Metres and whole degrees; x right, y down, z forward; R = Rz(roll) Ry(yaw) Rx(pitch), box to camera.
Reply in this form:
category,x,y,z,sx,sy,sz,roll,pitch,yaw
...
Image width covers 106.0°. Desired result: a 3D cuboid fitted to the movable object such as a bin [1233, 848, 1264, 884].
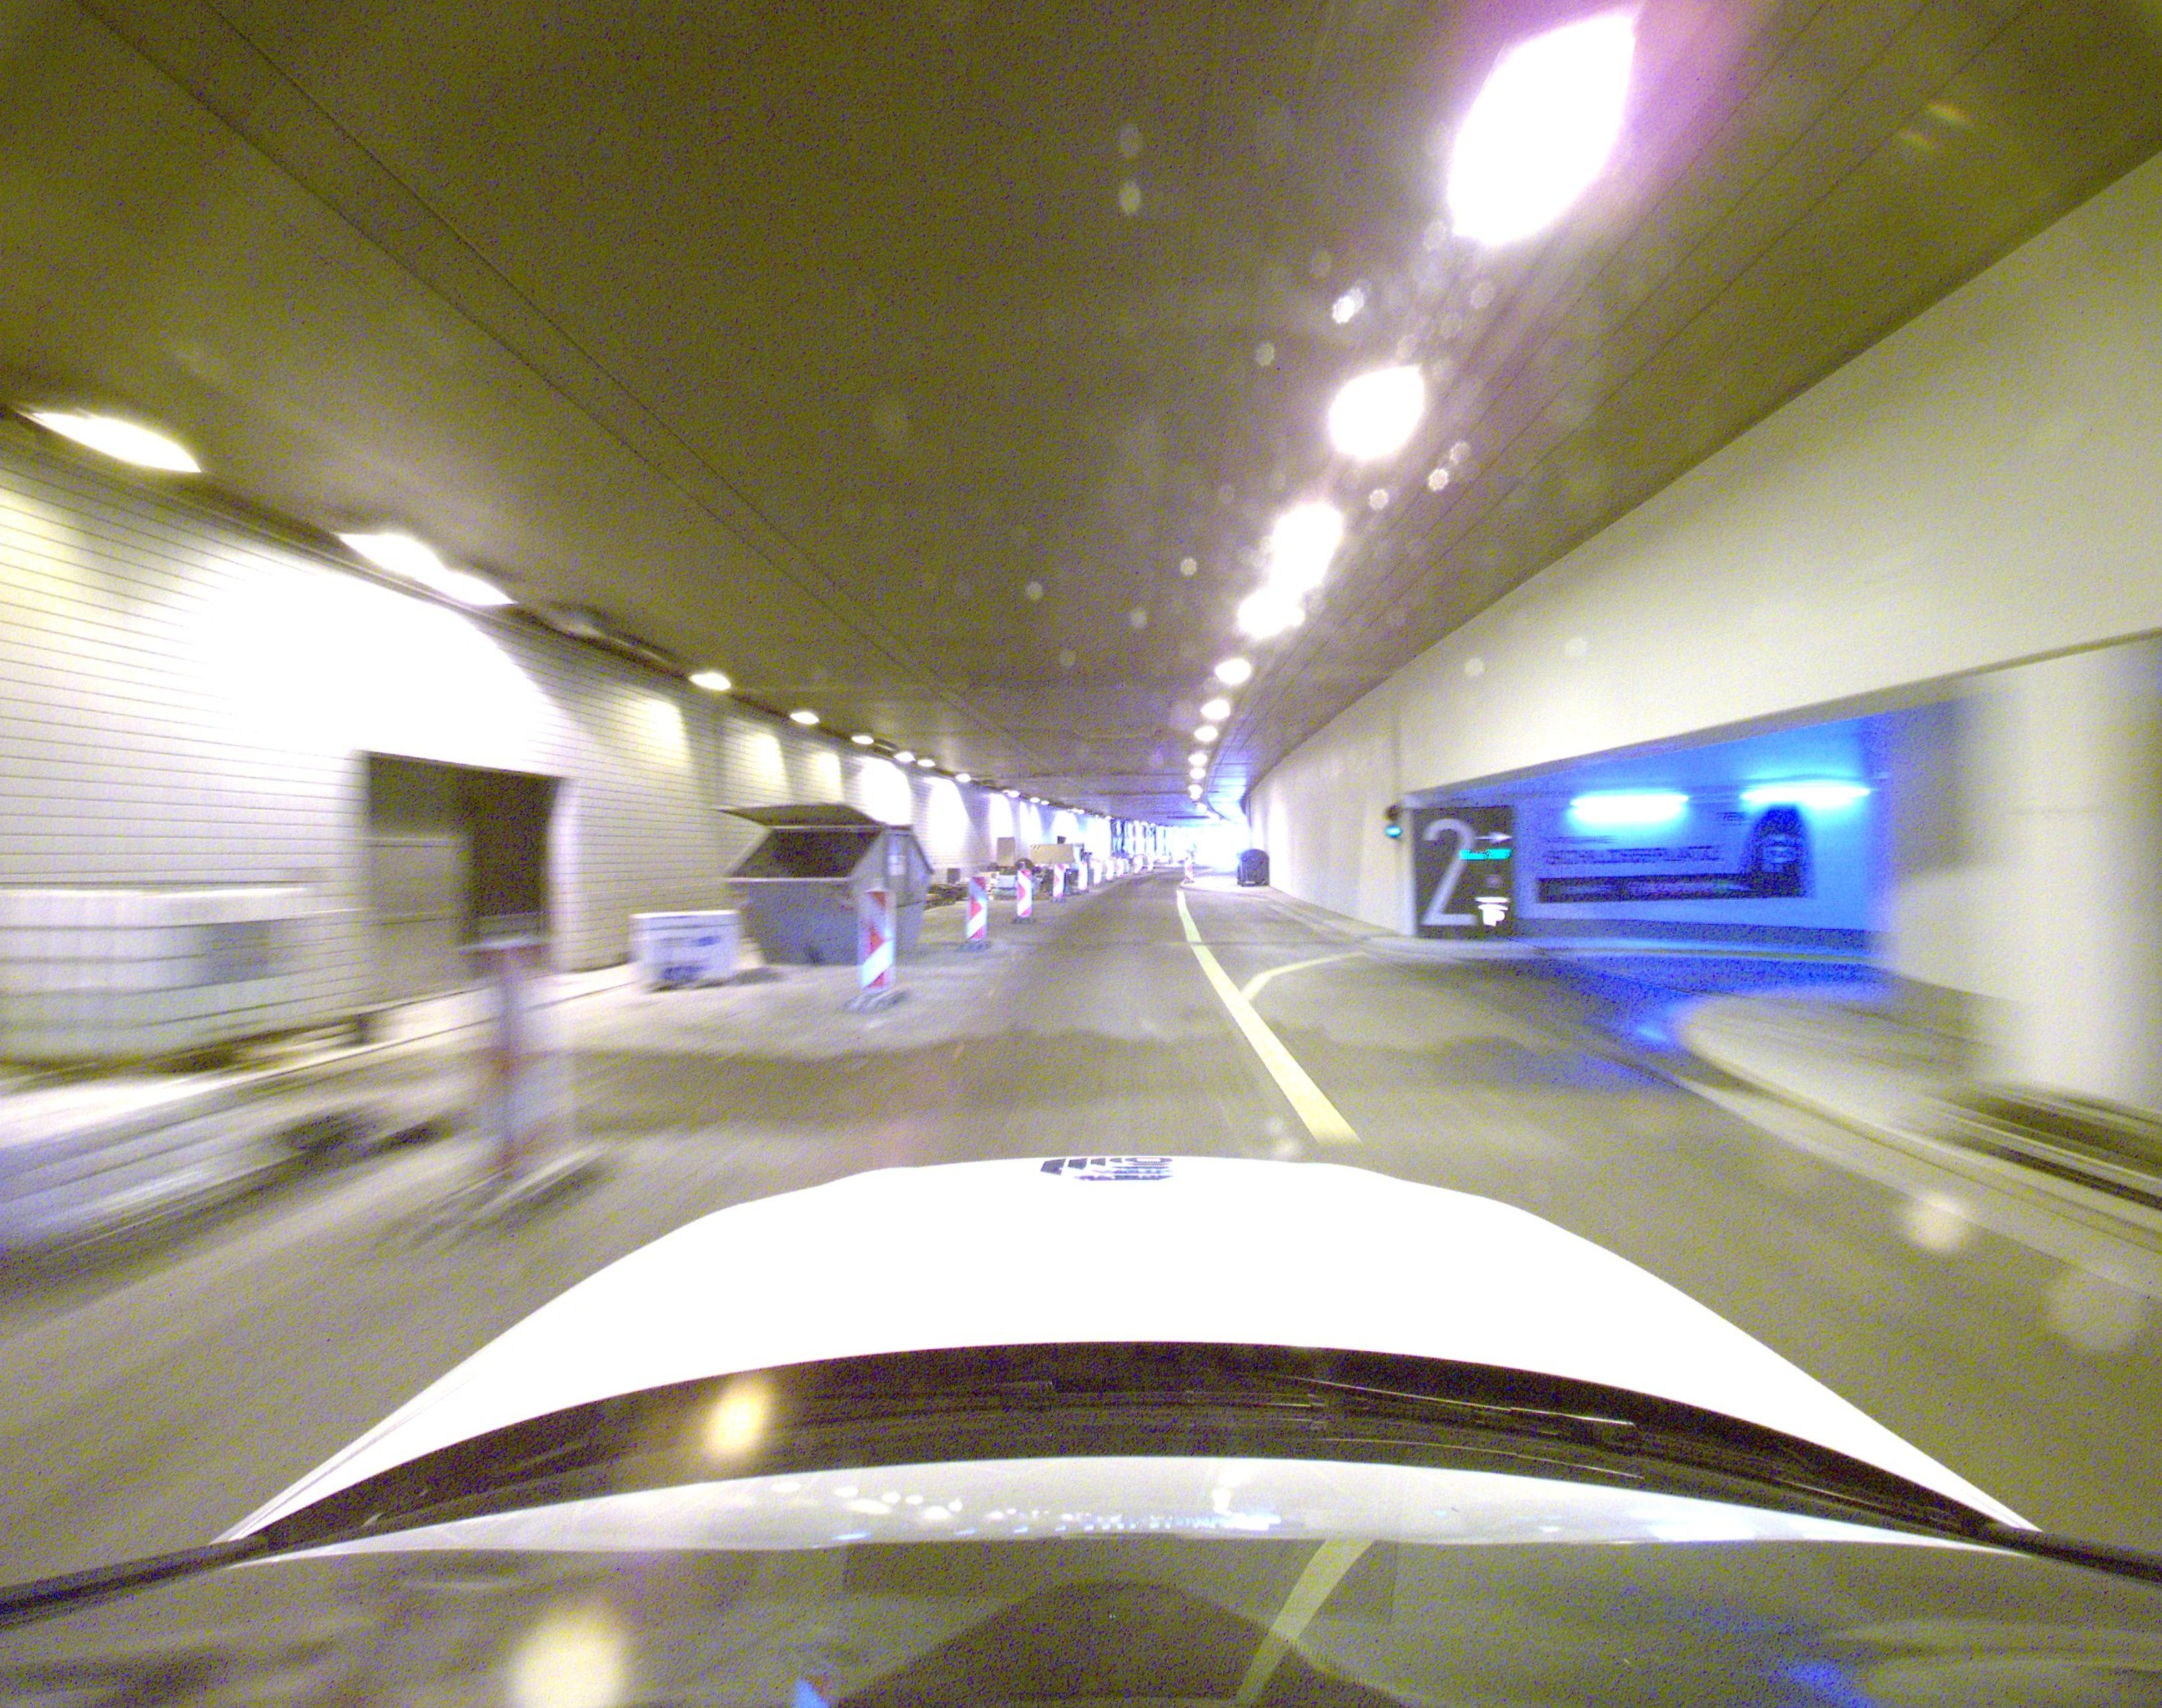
category,x,y,z,sx,sy,sz,roll,pitch,yaw
movable object such as a bin,6.832,0.476,33.348,1.139,1.445,1.366,0,-1,7

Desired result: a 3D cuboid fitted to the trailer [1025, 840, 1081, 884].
category,x,y,z,sx,sy,sz,roll,pitch,yaw
trailer,-1.281,0.391,38.968,2.197,2.014,3.471,0,-1,5

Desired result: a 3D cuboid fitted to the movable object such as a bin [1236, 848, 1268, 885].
category,x,y,z,sx,sy,sz,roll,pitch,yaw
movable object such as a bin,6.695,0.486,31.911,1.092,1.445,1.324,0,-1,7
